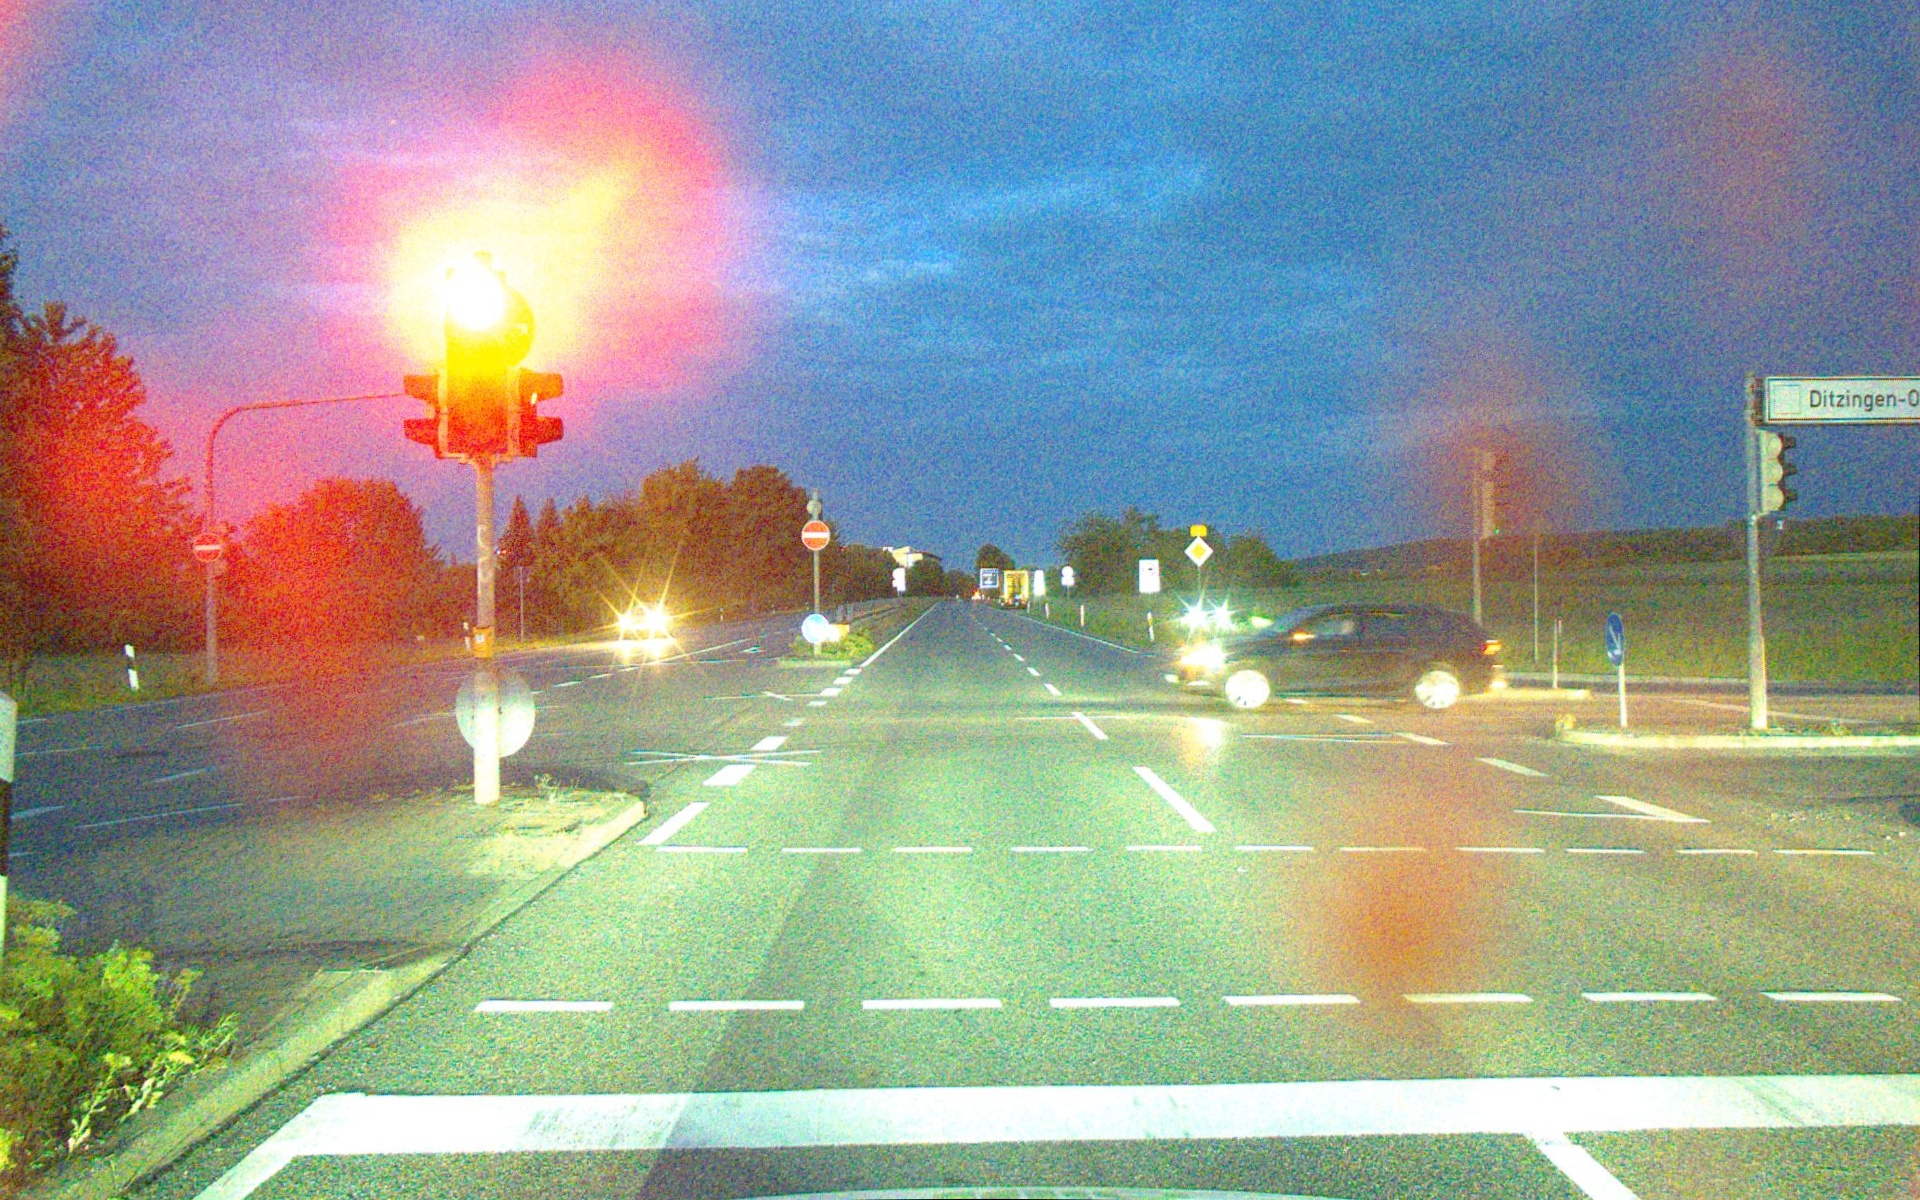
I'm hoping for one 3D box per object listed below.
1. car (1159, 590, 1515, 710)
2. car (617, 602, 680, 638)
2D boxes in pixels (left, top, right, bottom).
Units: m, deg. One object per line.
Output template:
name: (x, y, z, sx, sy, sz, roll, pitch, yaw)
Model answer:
car: (5.193, 0.664, 23.219, 4.508, 1.547, 1.999, 1, 0, -3)
car: (-13.026, 0.813, 69.377, 1.953, 1.411, 3.999, -1, 0, -1)
